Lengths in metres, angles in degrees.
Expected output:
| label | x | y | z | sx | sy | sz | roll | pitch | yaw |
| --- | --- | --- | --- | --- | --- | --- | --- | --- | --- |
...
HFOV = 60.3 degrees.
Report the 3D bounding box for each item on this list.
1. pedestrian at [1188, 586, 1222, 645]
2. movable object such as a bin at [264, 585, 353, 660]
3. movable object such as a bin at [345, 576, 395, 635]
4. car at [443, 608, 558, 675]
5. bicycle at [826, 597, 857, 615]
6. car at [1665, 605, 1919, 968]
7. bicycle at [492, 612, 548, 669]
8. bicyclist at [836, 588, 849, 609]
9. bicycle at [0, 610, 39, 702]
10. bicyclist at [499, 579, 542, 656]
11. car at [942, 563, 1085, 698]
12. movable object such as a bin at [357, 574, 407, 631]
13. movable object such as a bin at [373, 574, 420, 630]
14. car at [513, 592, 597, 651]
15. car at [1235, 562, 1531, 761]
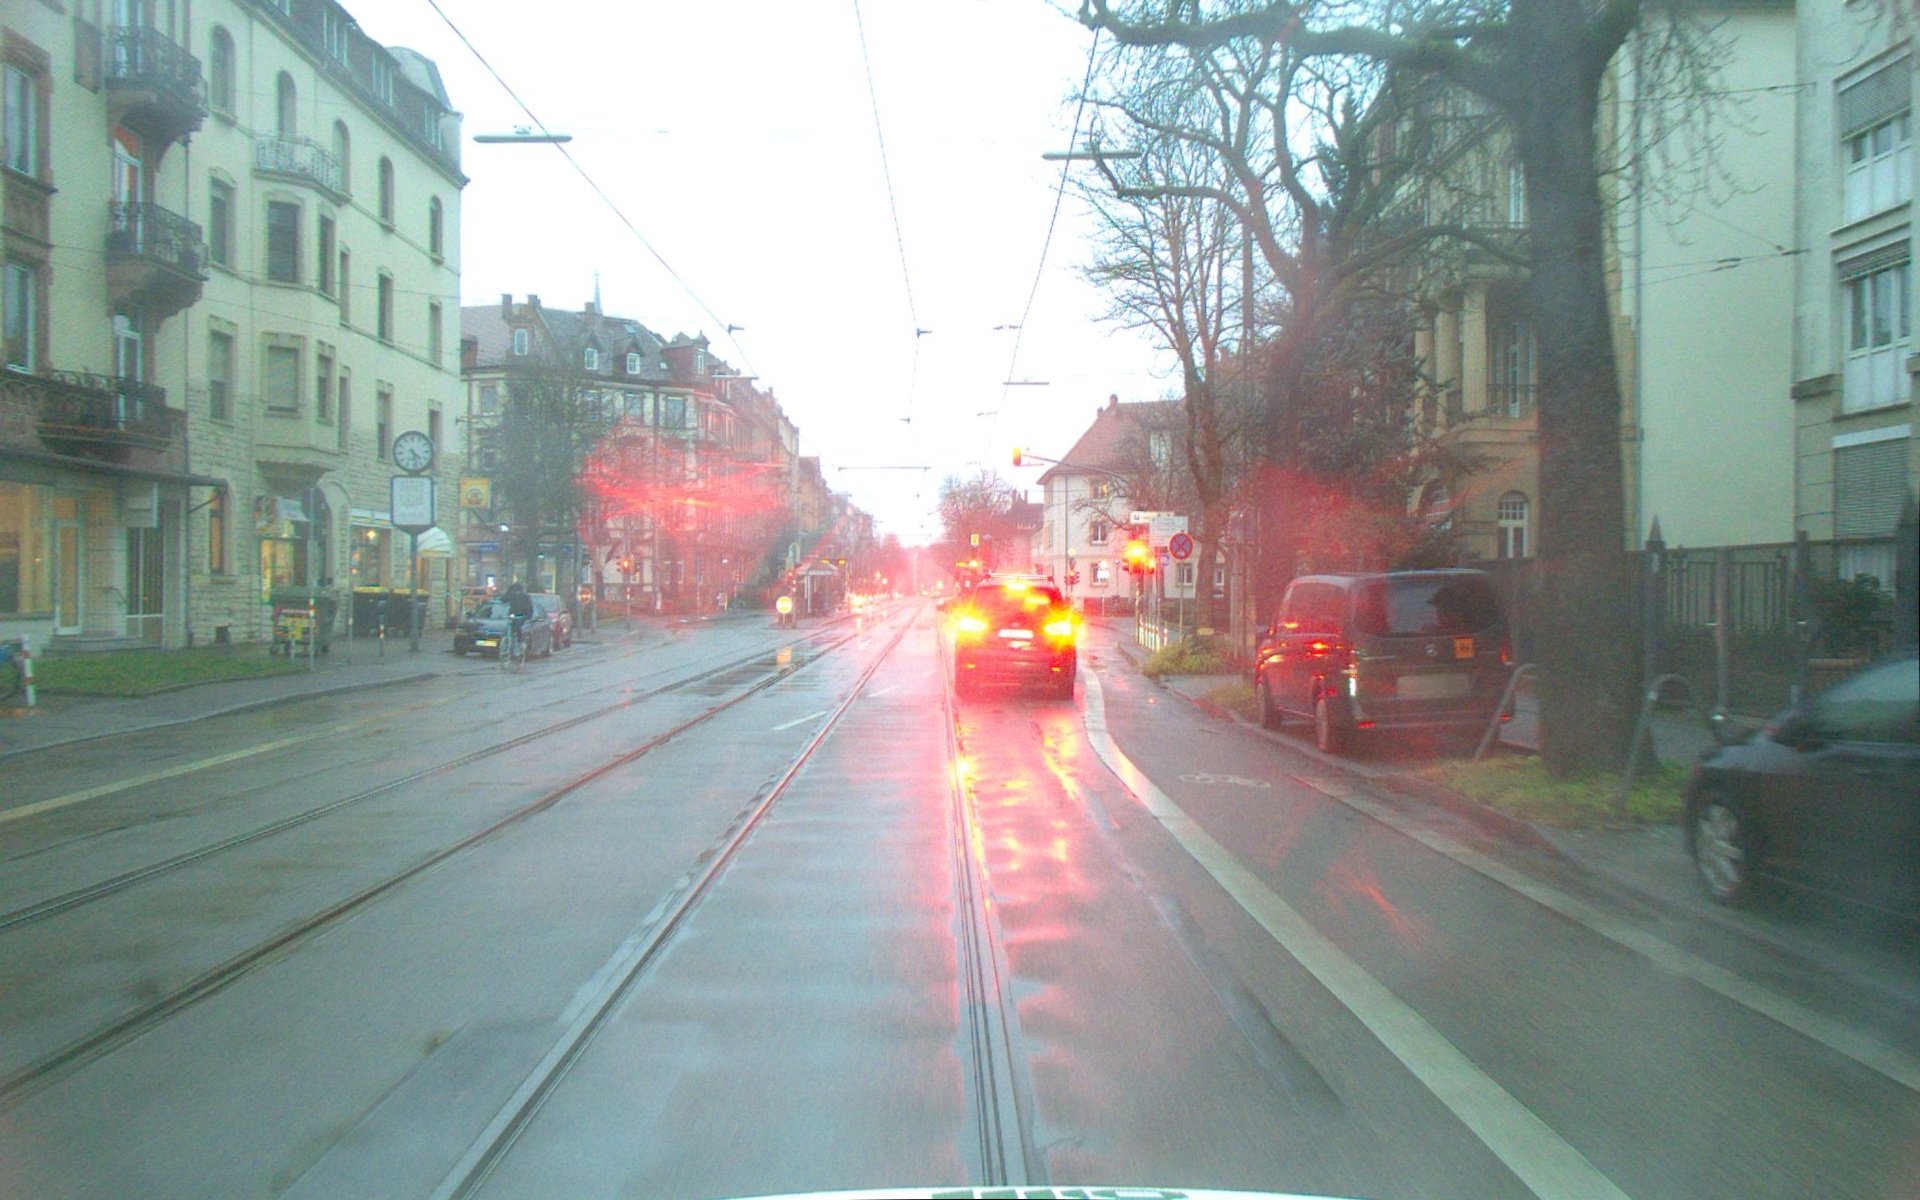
| label | x | y | z | sx | sy | sz | roll | pitch | yaw |
| --- | --- | --- | --- | --- | --- | --- | --- | --- | --- |
| pedestrian | 8.609 | 0.526 | 58.065 | 1.002 | 2.049 | 0.918 | -1 | 1 | -4 |
| movable object such as a bin | -14.107 | 0.472 | 35.845 | 1.380 | 1.557 | 1.364 | -1 | 1 | -1 |
| movable object such as a bin | -16.691 | 0.148 | 46.788 | 0.993 | 1.628 | 1.081 | -1 | 1 | 1 |
| car | -11.451 | 1.007 | 41.461 | 1.796 | 1.472 | 4.000 | -1 | 1 | -1 |
| bicycle | -8.125 | 0.414 | 113.147 | 2.069 | 1.153 | 0.555 | -1 | 1 | -15 |
| car | 4.863 | 0.798 | 7.346 | 1.643 | 1.485 | 4.041 | -1 | 1 | -2 |
| bicycle | -9.508 | 0.859 | 35.805 | 0.702 | 1.130 | 2.064 | -1 | 1 | -2 |
| bicyclist | -8.065 | -0.090 | 113.159 | 0.808 | 1.400 | 0.555 | -1 | 1 | -15 |
| bicycle | -12.452 | 0.696 | 20.418 | 1.771 | 1.099 | 0.615 | -1 | 1 | -8 |
| bicyclist | -9.520 | 0.371 | 35.858 | 0.702 | 1.630 | 0.931 | -1 | 1 | -3 |
| car | 0.755 | 0.470 | 26.411 | 1.953 | 1.930 | 4.757 | 1 | -1 | -2 |
| movable object such as a bin | -16.772 | 0.068 | 47.995 | 0.993 | 1.628 | 1.155 | -1 | 1 | 1 |
| movable object such as a bin | -16.769 | 0.046 | 49.208 | 0.993 | 1.628 | 1.081 | -1 | 1 | 1 |
| car | -11.714 | 0.589 | 48.050 | 1.596 | 1.577 | 3.499 | -1 | 1 | -1 |
| car | 4.593 | 0.556 | 18.817 | 1.953 | 1.933 | 5.026 | -1 | 1 | -2 |
